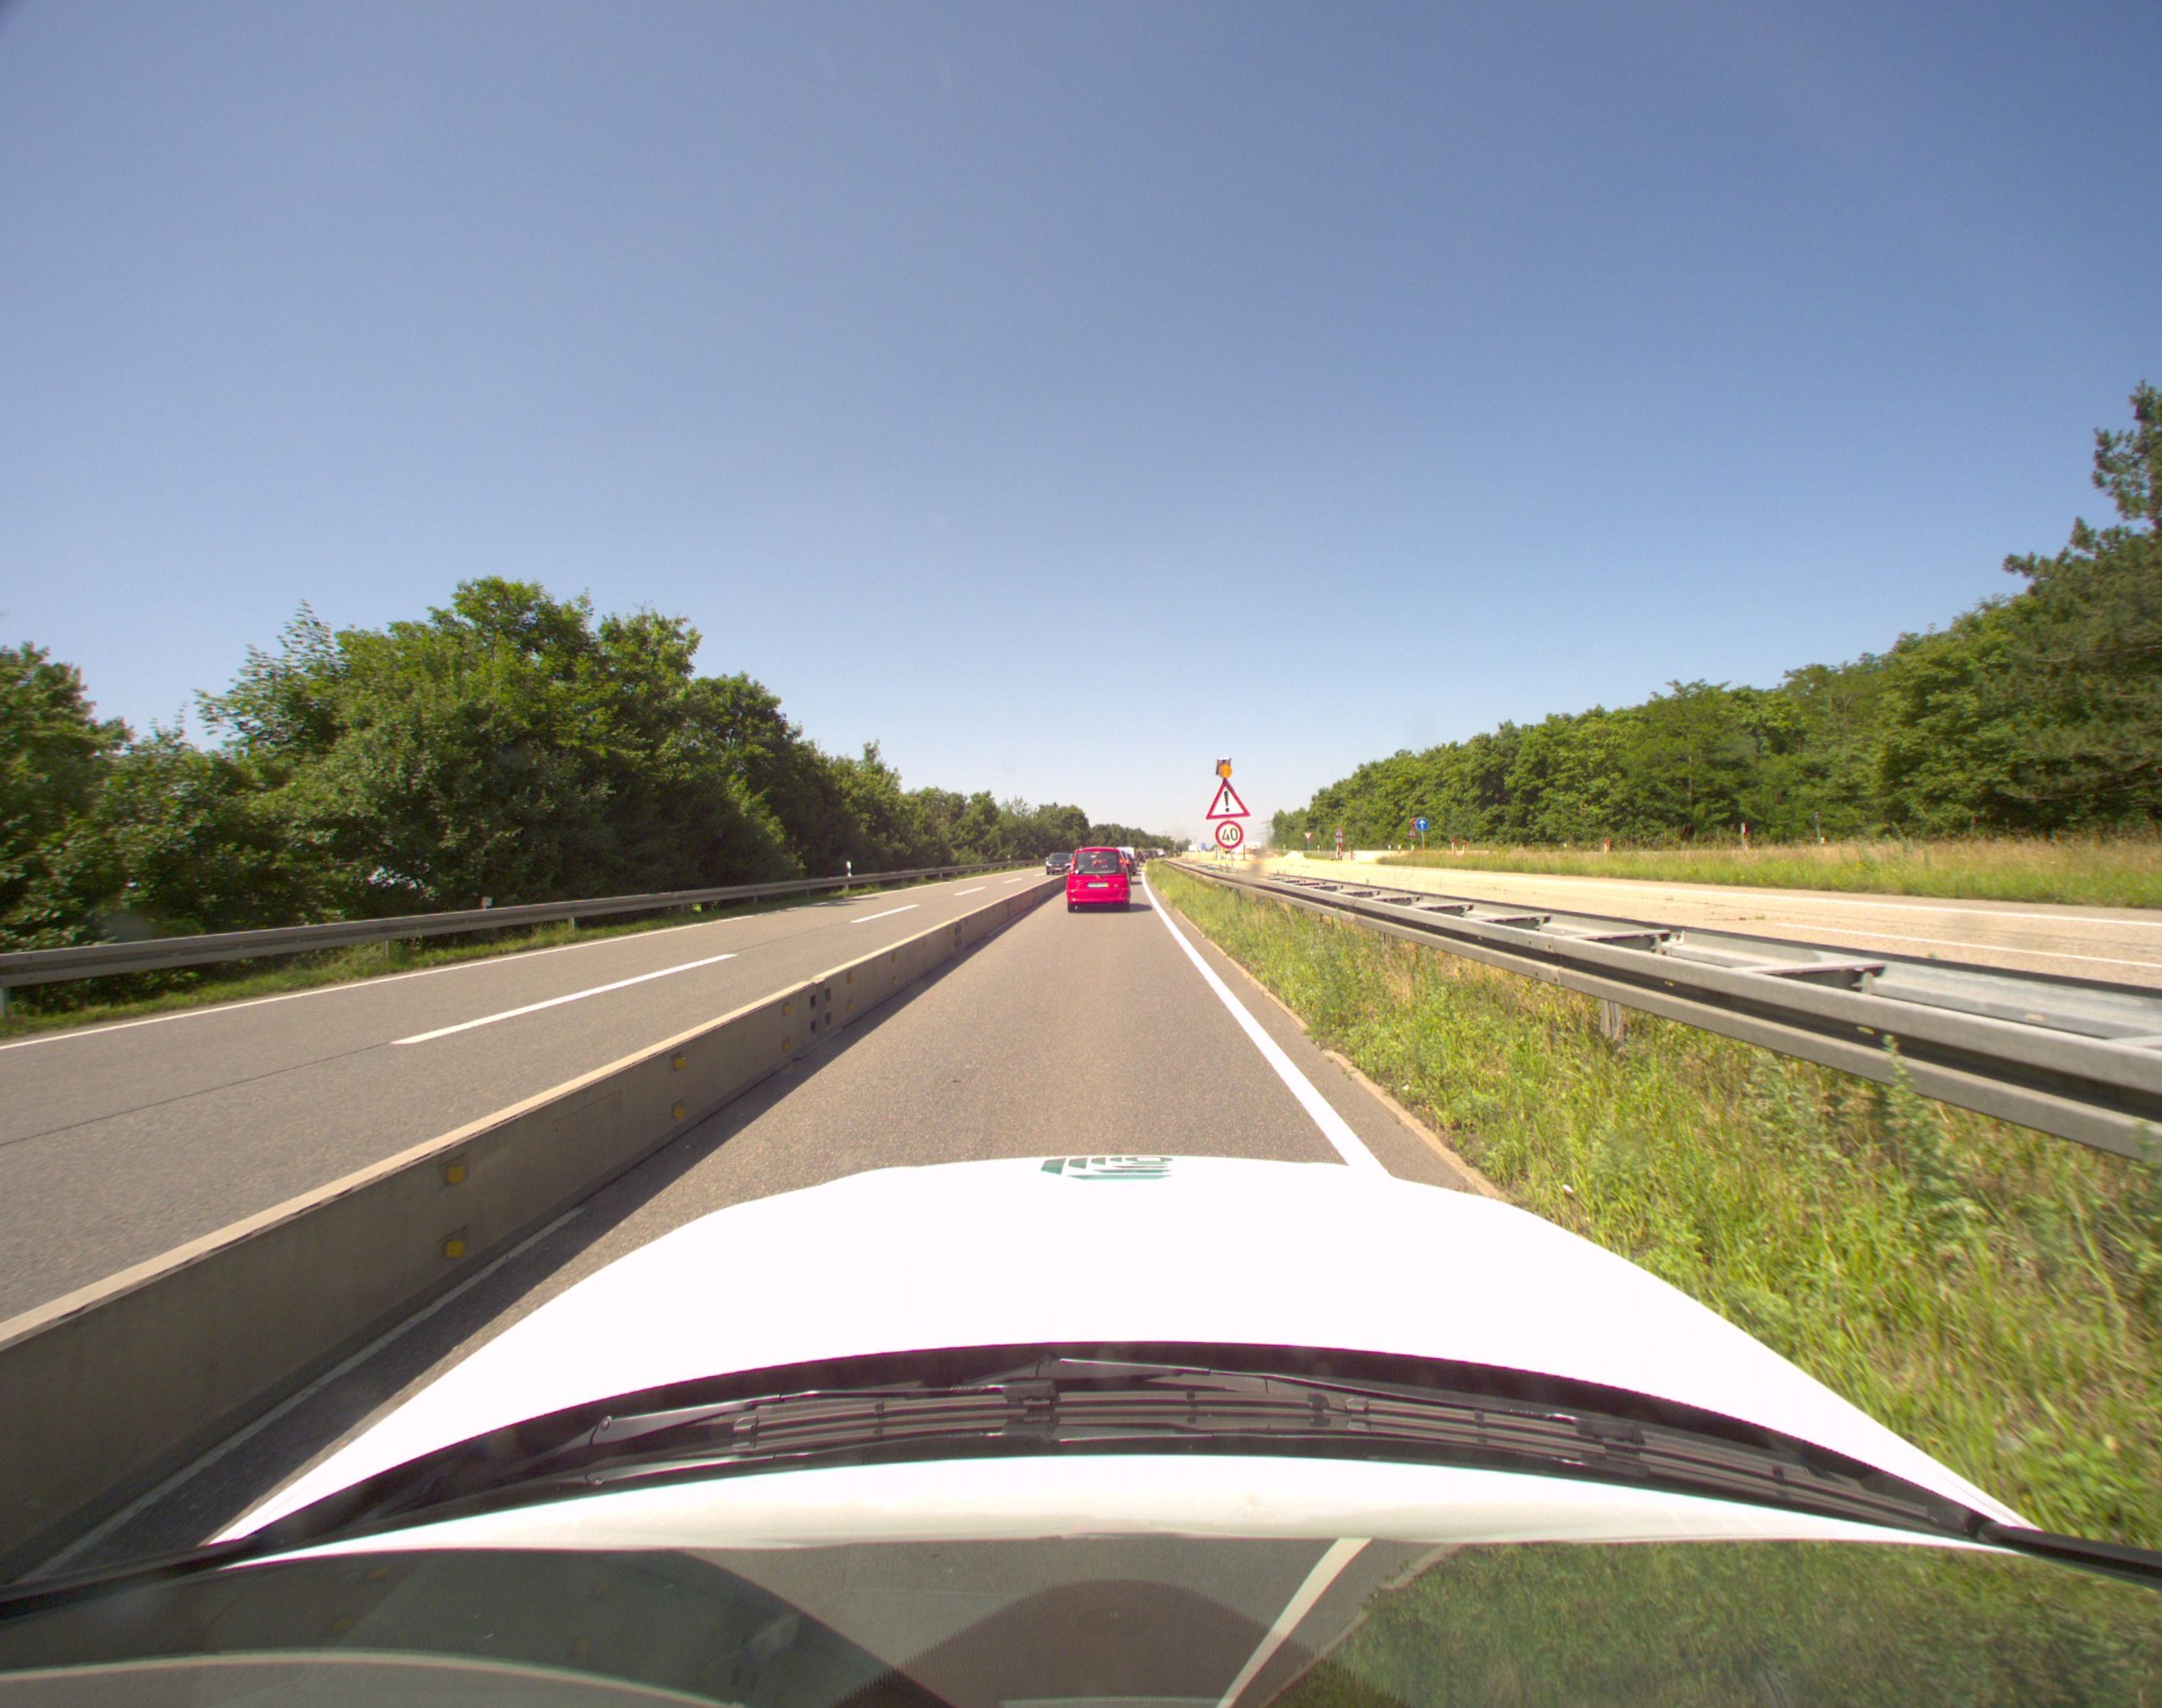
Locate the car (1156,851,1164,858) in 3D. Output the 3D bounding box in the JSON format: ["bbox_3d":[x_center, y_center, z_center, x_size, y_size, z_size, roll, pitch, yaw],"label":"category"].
[{"bbox_3d":[14.955,0.044,153.288,1.414,1.298,2.884,-2,0,6],"label":"car"}]

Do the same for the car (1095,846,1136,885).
[{"bbox_3d":[1.628,0.530,38.577,1.823,1.722,4.002,-1,0,2],"label":"car"}]

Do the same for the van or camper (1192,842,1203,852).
[{"bbox_3d":[32.365,-1.834,226.005,2.319,2.707,4.595,-2,0,2],"label":"van or camper"}]

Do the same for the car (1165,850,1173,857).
[{"bbox_3d":[18.298,-0.157,169.254,1.494,1.450,3.176,-3,0,6],"label":"car"}]

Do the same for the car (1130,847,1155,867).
[{"bbox_3d":[5.652,0.308,75.558,1.987,1.750,4.000,-2,0,0],"label":"car"}]

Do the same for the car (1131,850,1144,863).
[{"bbox_3d":[6.765,0.297,97.176,1.495,1.450,3.329,-1,0,4],"label":"car"}]

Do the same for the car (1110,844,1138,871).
[{"bbox_3d":[3.236,0.245,62.194,1.986,2.003,4.001,-1,0,1],"label":"car"}]

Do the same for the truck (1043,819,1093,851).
[{"bbox_3d":[-2.330,-3.349,147.690,8.579,5.375,3.394,-3,0,5],"label":"truck"}]

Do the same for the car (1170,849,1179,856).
[{"bbox_3d":[22.165,-0.430,192.949,1.985,1.552,4.004,-1,0,4],"label":"car"}]

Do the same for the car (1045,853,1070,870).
[{"bbox_3d":[-2.110,0.639,74.228,1.941,1.421,4.356,-2,0,3],"label":"car"}]

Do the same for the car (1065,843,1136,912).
[{"bbox_3d":[0.492,0.591,22.382,1.746,1.673,4.000,-1,0,0],"label":"car"}]

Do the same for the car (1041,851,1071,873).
[{"bbox_3d":[-1.738,0.538,57.315,1.815,1.482,4.258,-2,0,1],"label":"car"}]

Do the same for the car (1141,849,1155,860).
[{"bbox_3d":[10.076,0.107,121.891,1.984,1.585,4.006,-1,0,5],"label":"car"}]

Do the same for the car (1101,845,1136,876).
[{"bbox_3d":[2.403,0.393,51.658,1.984,1.838,4.005,-2,0,5],"label":"car"}]

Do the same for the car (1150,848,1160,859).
[{"bbox_3d":[12.484,-0.084,137.735,1.495,1.736,3.174,-2,0,4],"label":"car"}]
